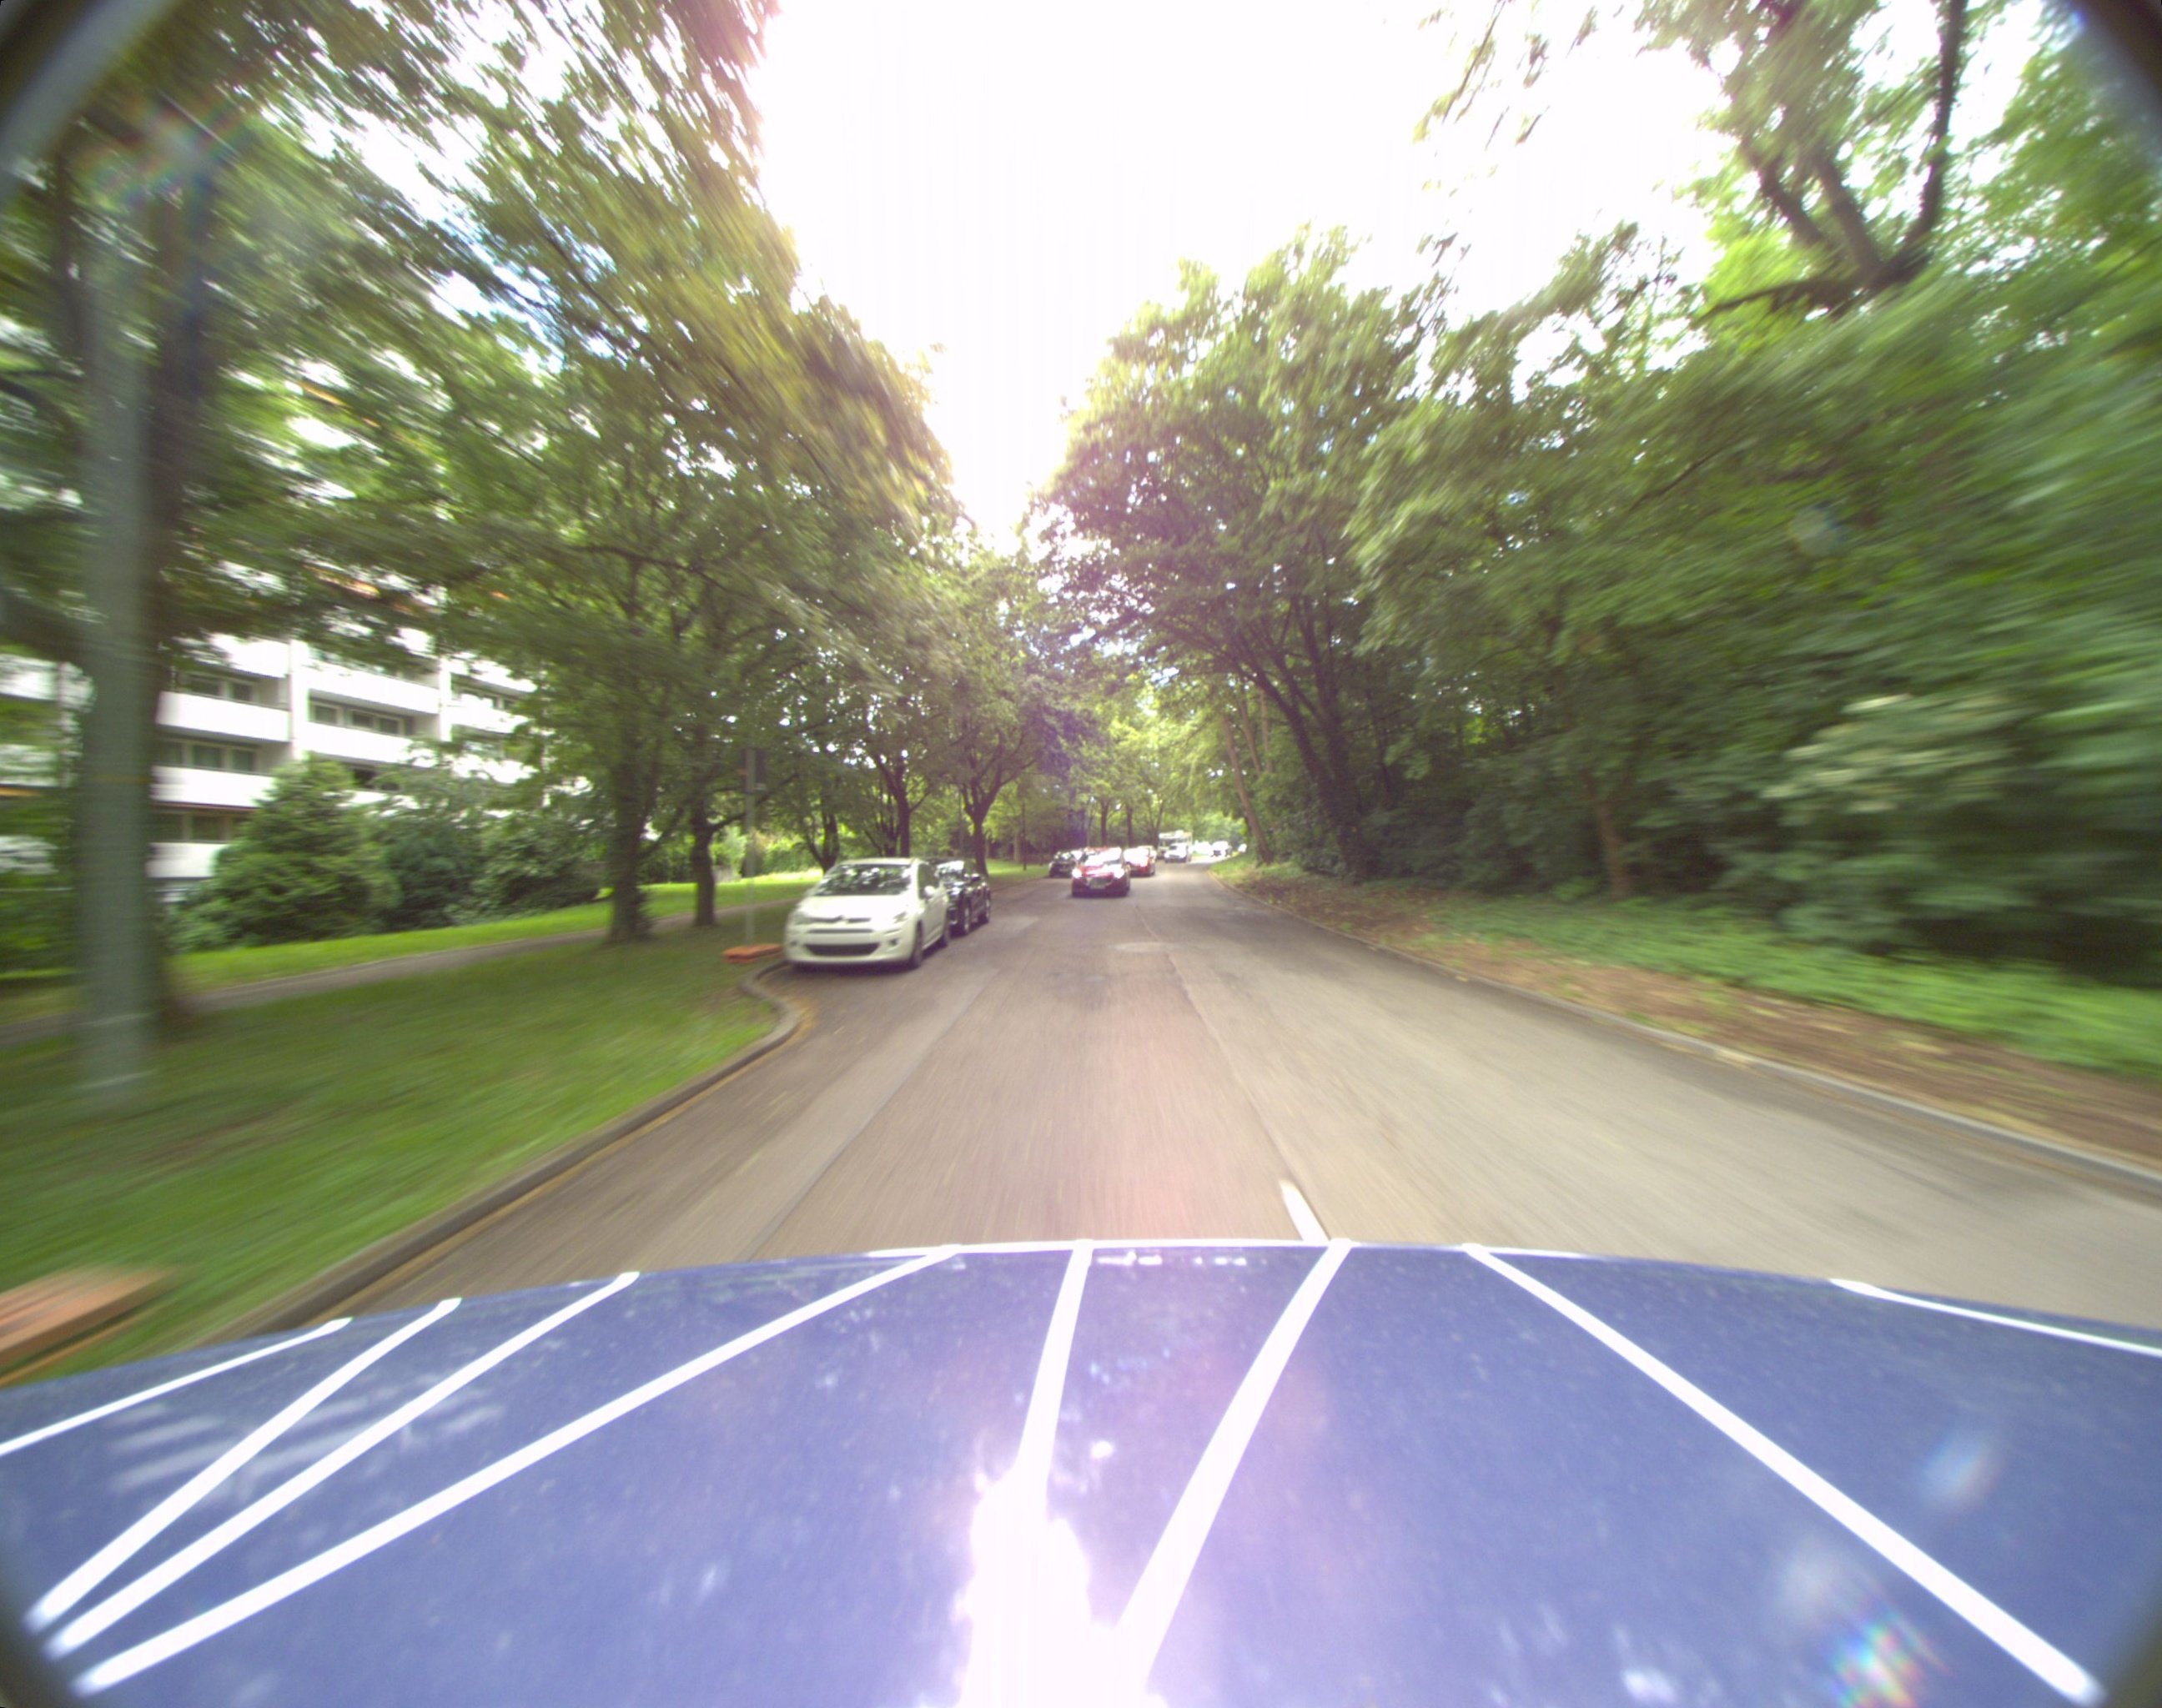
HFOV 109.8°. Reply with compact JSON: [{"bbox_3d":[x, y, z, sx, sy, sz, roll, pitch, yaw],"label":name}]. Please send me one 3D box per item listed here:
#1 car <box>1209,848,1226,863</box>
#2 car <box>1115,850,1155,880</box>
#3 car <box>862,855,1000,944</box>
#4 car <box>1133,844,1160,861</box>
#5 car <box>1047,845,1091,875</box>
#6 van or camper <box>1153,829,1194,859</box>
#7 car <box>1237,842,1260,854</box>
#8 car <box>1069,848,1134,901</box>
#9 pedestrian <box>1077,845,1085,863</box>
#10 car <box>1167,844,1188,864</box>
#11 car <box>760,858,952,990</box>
[{"bbox_3d":[15.423,0.195,85.938,1.767,1.559,4.048,-2,0,8],"label":"car"},{"bbox_3d":[2.927,0.541,40.742,1.957,1.464,4.678,-2,0,4],"label":"car"},{"bbox_3d":[-2.971,0.835,15.974,1.778,1.514,4.184,-2,0,3],"label":"car"},{"bbox_3d":[6.064,-0.140,69.692,1.691,1.474,4.111,-2,0,15],"label":"car"},{"bbox_3d":[-0.577,0.285,39.775,1.685,1.456,3.900,-2,0,8],"label":"car"},{"bbox_3d":[9.898,-1.125,80.717,2.427,2.962,7.403,-2,0,22],"label":"van or camper"},{"bbox_3d":[24.093,-0.904,109.012,1.712,1.543,4.685,-2,1,31],"label":"car"},{"bbox_3d":[0.673,0.638,26.500,2.003,1.599,4.677,-2,0,0],"label":"car"},{"bbox_3d":[0.033,-0.015,72.433,0.582,1.642,0.873,-2,1,6],"label":"pedestrian"},{"bbox_3d":[8.249,-0.002,65.036,1.654,1.559,4.047,-2,0,7],"label":"car"},{"bbox_3d":[-3.093,0.871,11.282,1.779,1.514,3.780,-2,0,-2],"label":"car"}]
